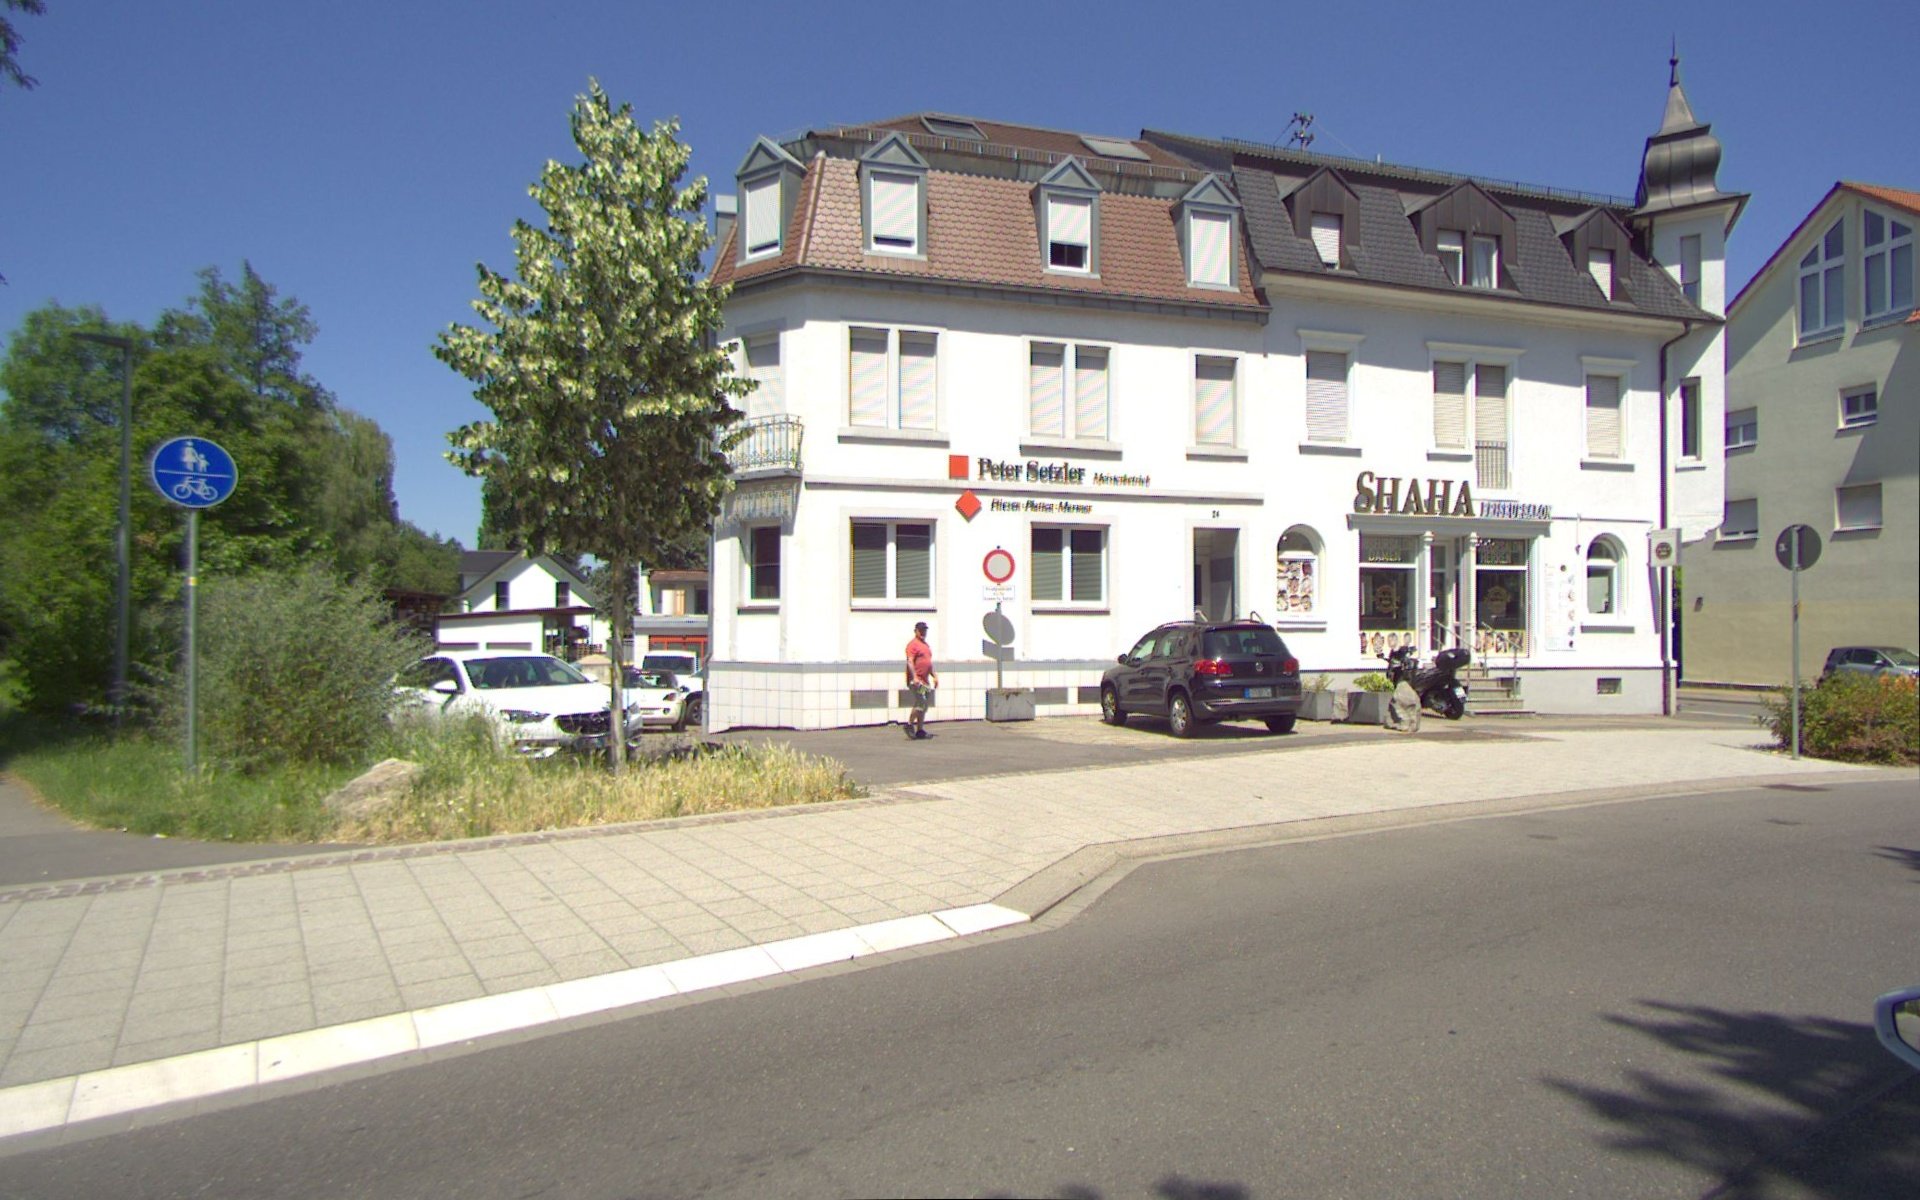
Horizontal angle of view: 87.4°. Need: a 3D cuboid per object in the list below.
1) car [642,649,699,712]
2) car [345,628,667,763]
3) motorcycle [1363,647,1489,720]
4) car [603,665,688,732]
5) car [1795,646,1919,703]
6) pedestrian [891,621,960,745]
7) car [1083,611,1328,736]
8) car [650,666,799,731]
[{"bbox_3d":[-9.822,2.685,34.206,1.738,1.917,3.988,1,-2,-16],"label":"car"},{"bbox_3d":[-5.868,1.061,12.706,4.640,1.374,1.990,-1,-2,41],"label":"car"},{"bbox_3d":[8.692,1.526,18.887,0.819,1.233,2.396,2,-2,-14],"label":"motorcycle"},{"bbox_3d":[-7.467,2.358,24.141,1.733,1.450,3.990,1,-6,-15],"label":"car"},{"bbox_3d":[26.107,2.071,28.570,1.664,1.477,3.262,0,-2,-17],"label":"car"},{"bbox_3d":[-0.512,1.226,15.029,0.725,1.777,0.736,-2,-3,36],"label":"pedestrian"},{"bbox_3d":[3.669,1.069,15.881,1.939,1.684,4.180,1,-2,-16],"label":"car"},{"bbox_3d":[-7.011,2.895,30.147,1.880,1.669,3.975,-1,-2,45],"label":"car"}]
